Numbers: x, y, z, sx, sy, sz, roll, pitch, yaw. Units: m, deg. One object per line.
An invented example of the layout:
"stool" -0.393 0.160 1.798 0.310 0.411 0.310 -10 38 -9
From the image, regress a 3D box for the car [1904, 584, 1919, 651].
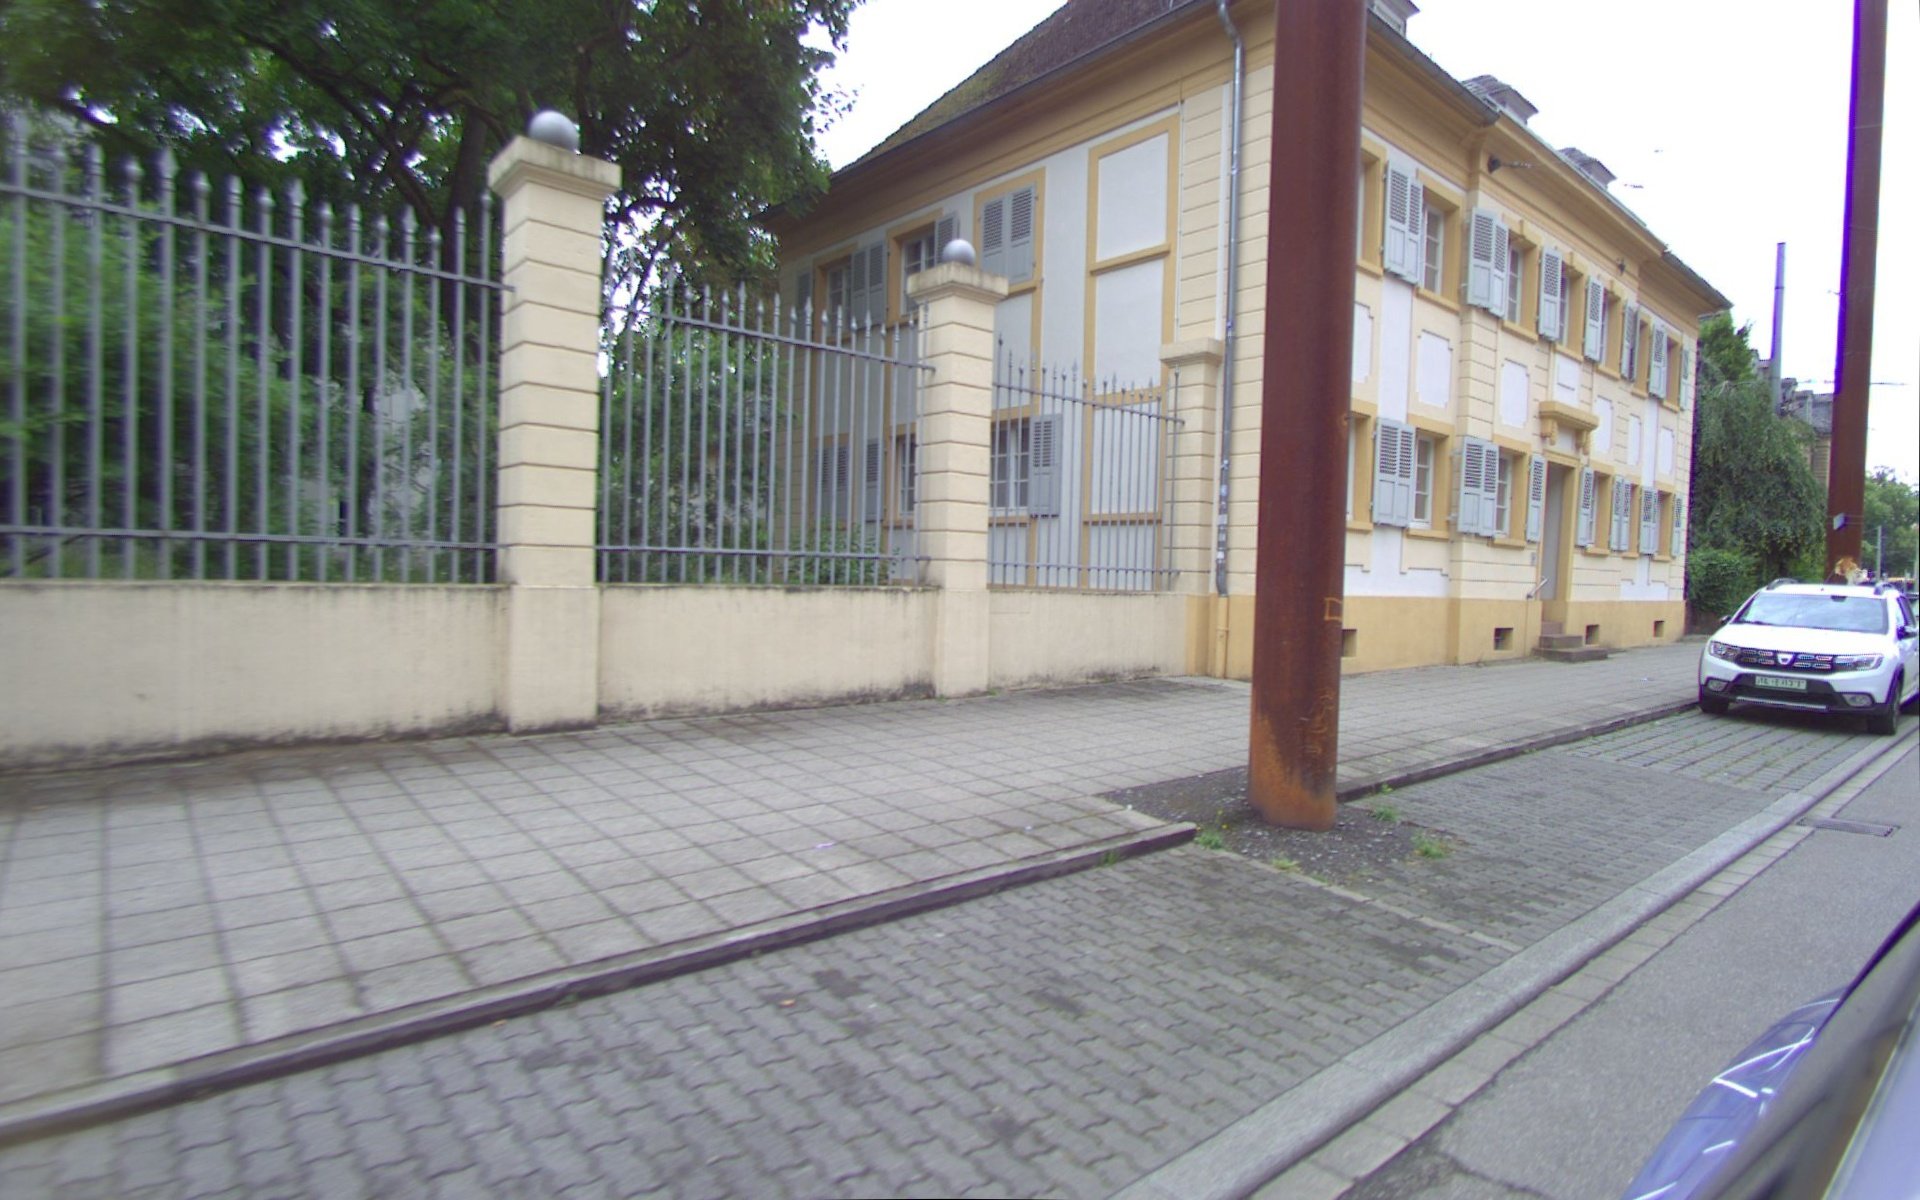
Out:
"car" 22.950 0.429 23.078 3.863 1.451 1.641 0 5 -42

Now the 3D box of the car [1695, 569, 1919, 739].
"car" 10.339 0.507 11.988 3.862 1.593 1.759 0 5 -42

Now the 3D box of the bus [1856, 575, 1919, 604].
"bus" 113.147 -1.329 122.118 2.826 3.115 11.957 1 2 17

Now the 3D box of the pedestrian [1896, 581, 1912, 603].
"pedestrian" 84.992 -0.751 91.126 0.773 1.967 0.973 2 2 26

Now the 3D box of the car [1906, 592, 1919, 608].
"car" 89.742 0.061 92.316 1.958 1.437 4.672 1 2 -23
